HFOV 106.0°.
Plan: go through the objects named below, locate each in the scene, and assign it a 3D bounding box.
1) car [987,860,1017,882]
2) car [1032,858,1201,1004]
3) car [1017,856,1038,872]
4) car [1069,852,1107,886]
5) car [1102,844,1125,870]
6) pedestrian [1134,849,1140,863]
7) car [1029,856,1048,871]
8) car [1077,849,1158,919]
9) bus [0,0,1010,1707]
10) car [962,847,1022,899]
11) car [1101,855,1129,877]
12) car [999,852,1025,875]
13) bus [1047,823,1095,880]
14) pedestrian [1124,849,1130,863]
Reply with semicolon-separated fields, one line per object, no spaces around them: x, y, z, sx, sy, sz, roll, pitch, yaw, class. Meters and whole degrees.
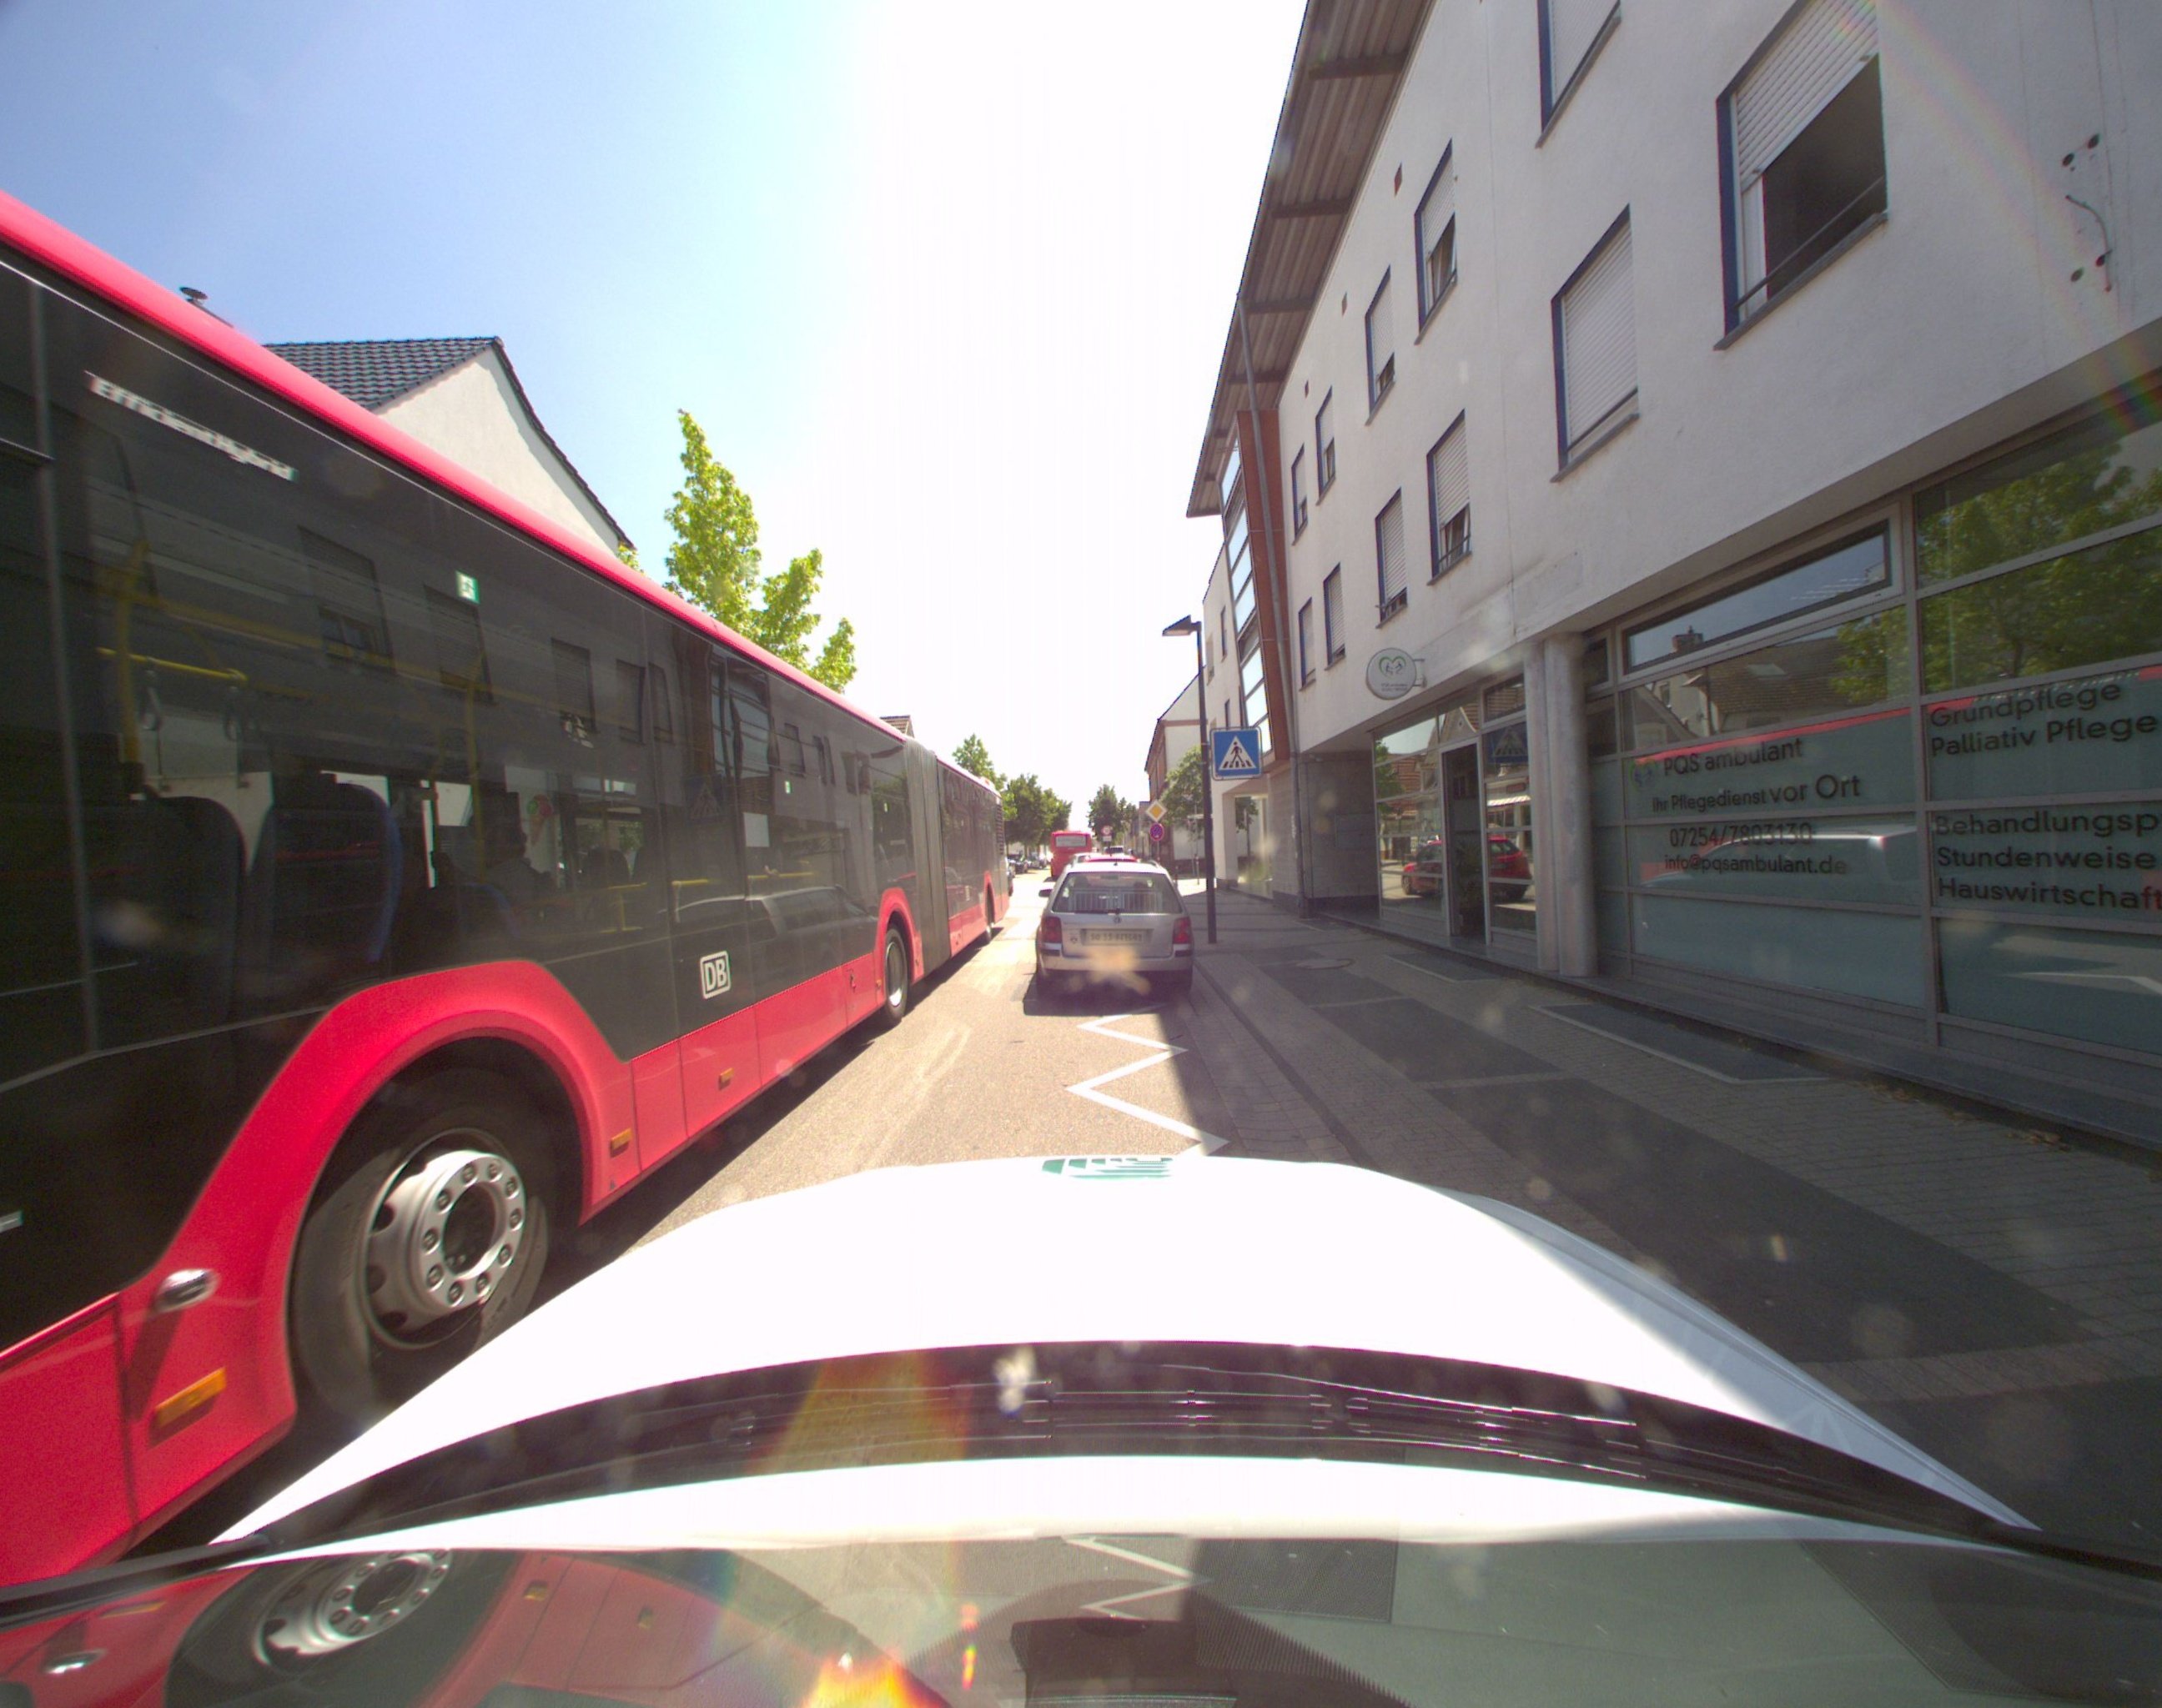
-5.717;1.199;59.207;1.599;1.438;4.065;-3;0;1;car
0.389;0.766;9.890;1.671;1.430;3.680;0;0;1;car
-5.613;1.024;85.644;1.805;1.559;4.001;-3;0;1;car
0.358;0.646;36.739;1.587;1.430;3.681;-1;0;2;car
2.755;0.286;69.803;1.782;2.082;3.626;-3;0;1;car
6.864;0.214;100.561;0.604;1.667;0.789;-3;0;-1;pedestrian
-4.792;1.041;92.266;1.805;1.559;4.001;-3;0;1;car
0.838;0.647;19.656;1.671;1.430;3.680;-4;0;1;car
-3.083;0.061;8.745;2.659;3.123;17.808;-3;0;1;bus
-3.256;0.649;30.405;1.669;1.716;4.232;-3;0;0;car
2.269;0.775;54.421;1.713;1.309;3.626;-3;0;1;car
-5.975;0.829;70.821;1.758;1.838;3.789;-3;0;1;car
-0.833;-0.110;54.863;2.733;3.298;12.694;-2;0;-2;bus
5.708;0.214;100.442;0.604;1.667;0.789;-3;0;-1;pedestrian
